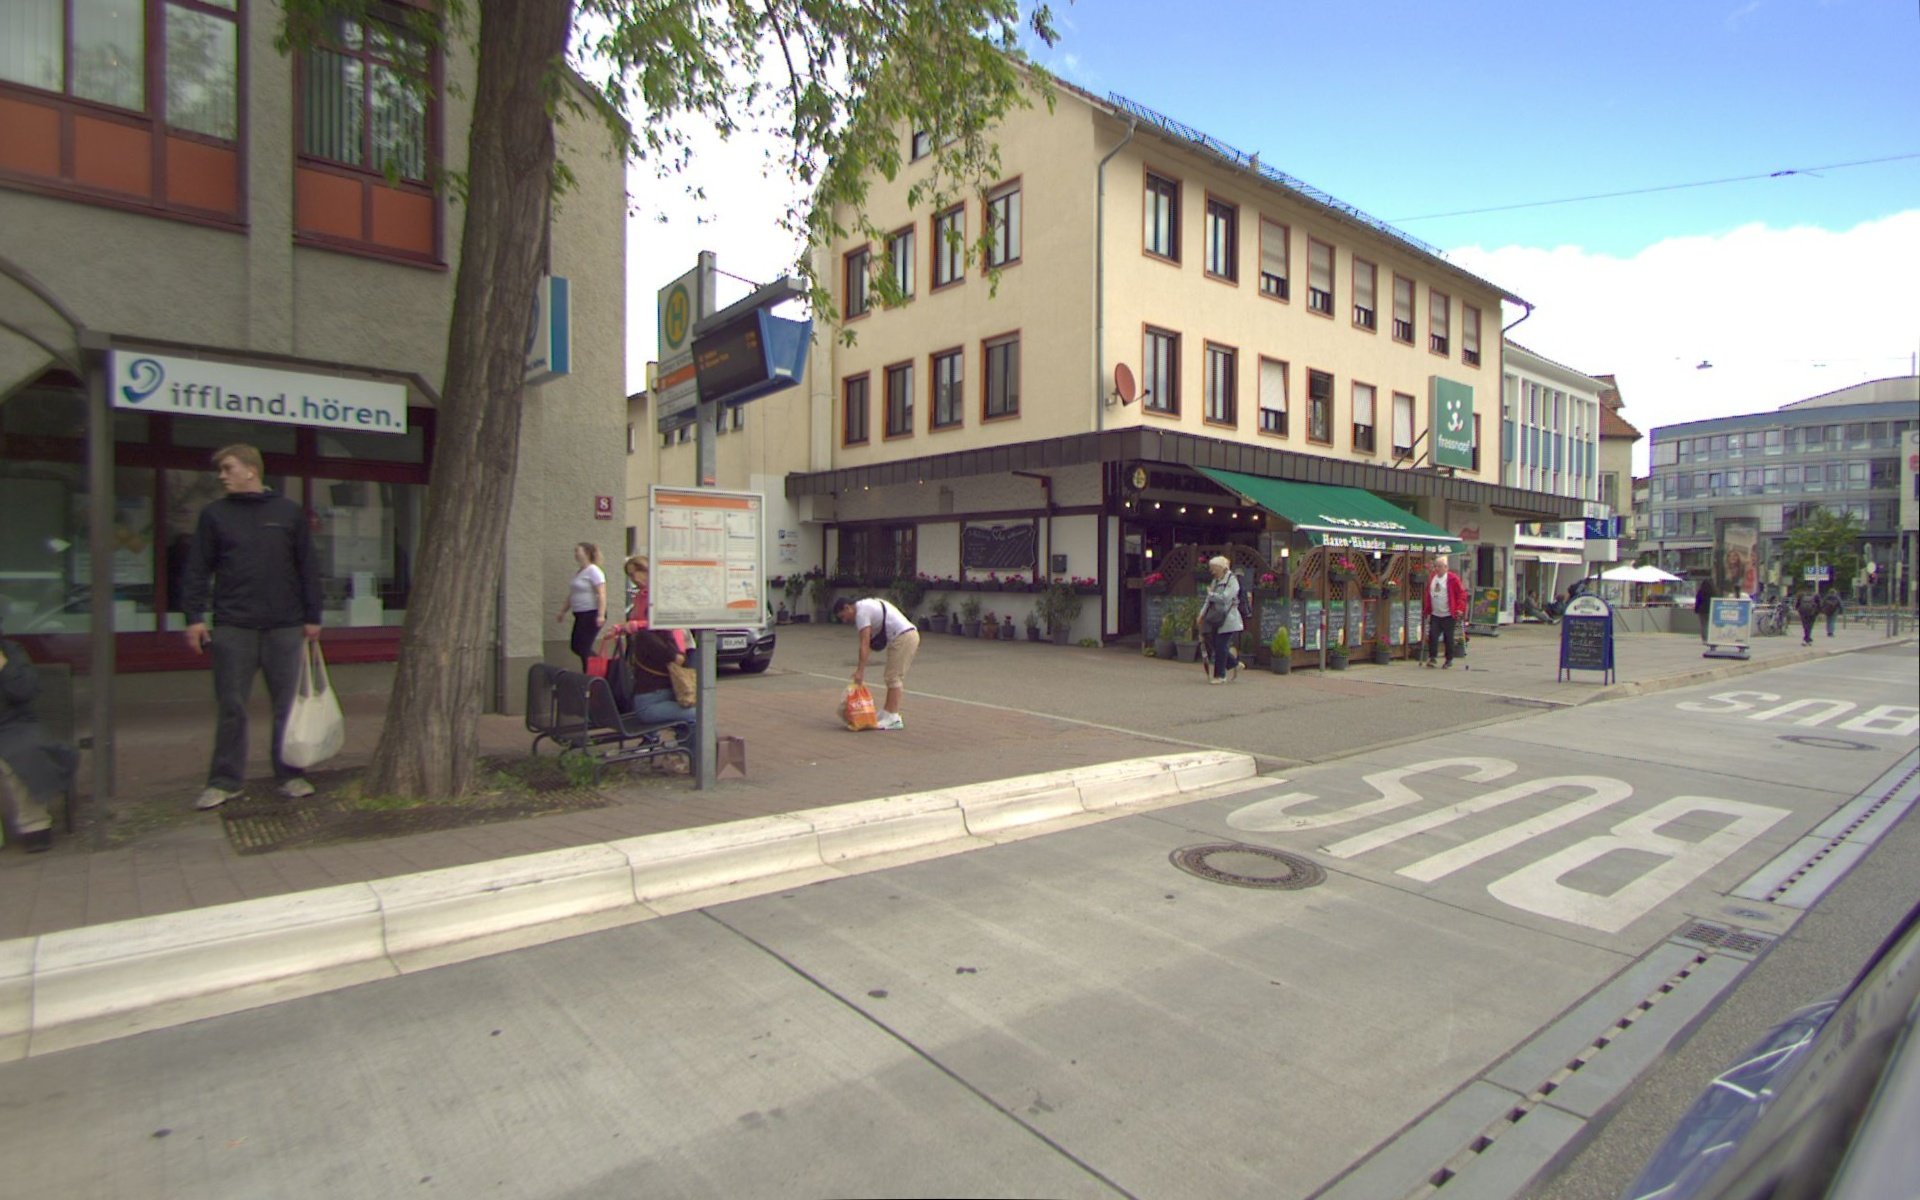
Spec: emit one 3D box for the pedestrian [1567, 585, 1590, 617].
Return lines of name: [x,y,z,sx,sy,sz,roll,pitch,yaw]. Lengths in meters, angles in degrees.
pedestrian: [24.719,0.042,40.459,0.578,1.236,0.613,1,-3,-43]

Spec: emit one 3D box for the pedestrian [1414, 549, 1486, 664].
pedestrian: [7.846,0.074,16.216,0.795,1.763,0.770,3,4,44]

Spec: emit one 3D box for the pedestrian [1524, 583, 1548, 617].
pedestrian: [21.900,0.005,38.479,0.578,1.236,0.613,1,-3,-43]

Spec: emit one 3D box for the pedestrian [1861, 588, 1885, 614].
pedestrian: [58.354,0.068,64.695,0.834,1.656,0.641,-2,-2,16]

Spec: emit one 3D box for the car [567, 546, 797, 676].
car: [-4.336,0.115,15.246,1.845,1.640,4.618,0,1,-36]

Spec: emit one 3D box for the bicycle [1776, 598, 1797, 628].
bicycle: [27.155,0.420,33.232,1.362,0.986,0.274,0,0,-40]

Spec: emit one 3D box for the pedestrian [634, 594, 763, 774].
pedestrian: [-1.834,0.553,7.094,0.711,1.181,0.579,0,-1,43]

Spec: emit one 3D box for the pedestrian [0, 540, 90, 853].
pedestrian: [-4.596,0.426,4.796,0.576,1.418,0.616,0,2,-27]

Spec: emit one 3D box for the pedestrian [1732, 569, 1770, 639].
pedestrian: [19.229,0.087,24.590,0.605,1.654,0.613,-1,2,-43]

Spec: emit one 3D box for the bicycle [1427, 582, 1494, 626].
bicycle: [13.033,0.090,26.323,2.311,1.075,0.742,0,2,-43]

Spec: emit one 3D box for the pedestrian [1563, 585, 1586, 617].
pedestrian: [24.284,0.044,40.014,0.578,1.235,0.614,1,1,-43]

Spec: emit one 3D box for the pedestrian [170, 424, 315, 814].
pedestrian: [-4.058,0.090,5.765,0.576,2.072,0.616,0,2,-27]

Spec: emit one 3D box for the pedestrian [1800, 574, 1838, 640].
pedestrian: [22.441,0.172,26.447,0.604,1.699,0.613,1,1,-38]

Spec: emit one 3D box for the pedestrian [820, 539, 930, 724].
pedestrian: [-0.803,0.273,9.495,0.778,1.654,0.616,1,3,-29]

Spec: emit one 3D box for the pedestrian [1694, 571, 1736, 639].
pedestrian: [18.805,0.100,25.208,0.605,1.654,0.719,-1,2,-43]

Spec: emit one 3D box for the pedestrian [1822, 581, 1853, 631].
pedestrian: [29.779,0.202,34.334,0.838,1.655,0.689,1,0,-41]

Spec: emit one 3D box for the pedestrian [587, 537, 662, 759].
pedestrian: [-2.536,0.348,7.628,0.481,1.587,0.675,2,-2,-20]

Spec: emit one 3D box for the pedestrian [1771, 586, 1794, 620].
pedestrian: [39.883,0.154,49.096,0.580,1.643,0.740,-2,-2,18]

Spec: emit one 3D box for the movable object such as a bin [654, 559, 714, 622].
movable object such as a bin: [-7.074,-0.249,25.933,1.098,1.583,1.106,0,0,-41]

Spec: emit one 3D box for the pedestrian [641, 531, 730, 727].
pedestrian: [-2.431,0.240,8.958,0.577,1.655,0.615,0,0,-36]

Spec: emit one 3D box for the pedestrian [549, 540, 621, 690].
pedestrian: [-4.292,0.158,11.577,0.604,1.655,0.587,0,1,-40]

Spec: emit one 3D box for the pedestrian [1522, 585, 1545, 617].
pedestrian: [22.211,0.023,39.186,0.578,1.235,0.614,1,0,-43]

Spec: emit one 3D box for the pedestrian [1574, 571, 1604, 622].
pedestrian: [20.895,-0.115,33.618,0.787,1.655,0.667,0,0,-43]

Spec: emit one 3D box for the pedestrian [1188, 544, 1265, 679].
pedestrian: [3.622,0.123,13.750,0.682,1.763,0.770,3,4,44]

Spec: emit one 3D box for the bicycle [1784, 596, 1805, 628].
bicycle: [28.232,0.393,34.231,1.362,1.066,0.274,0,0,-40]
